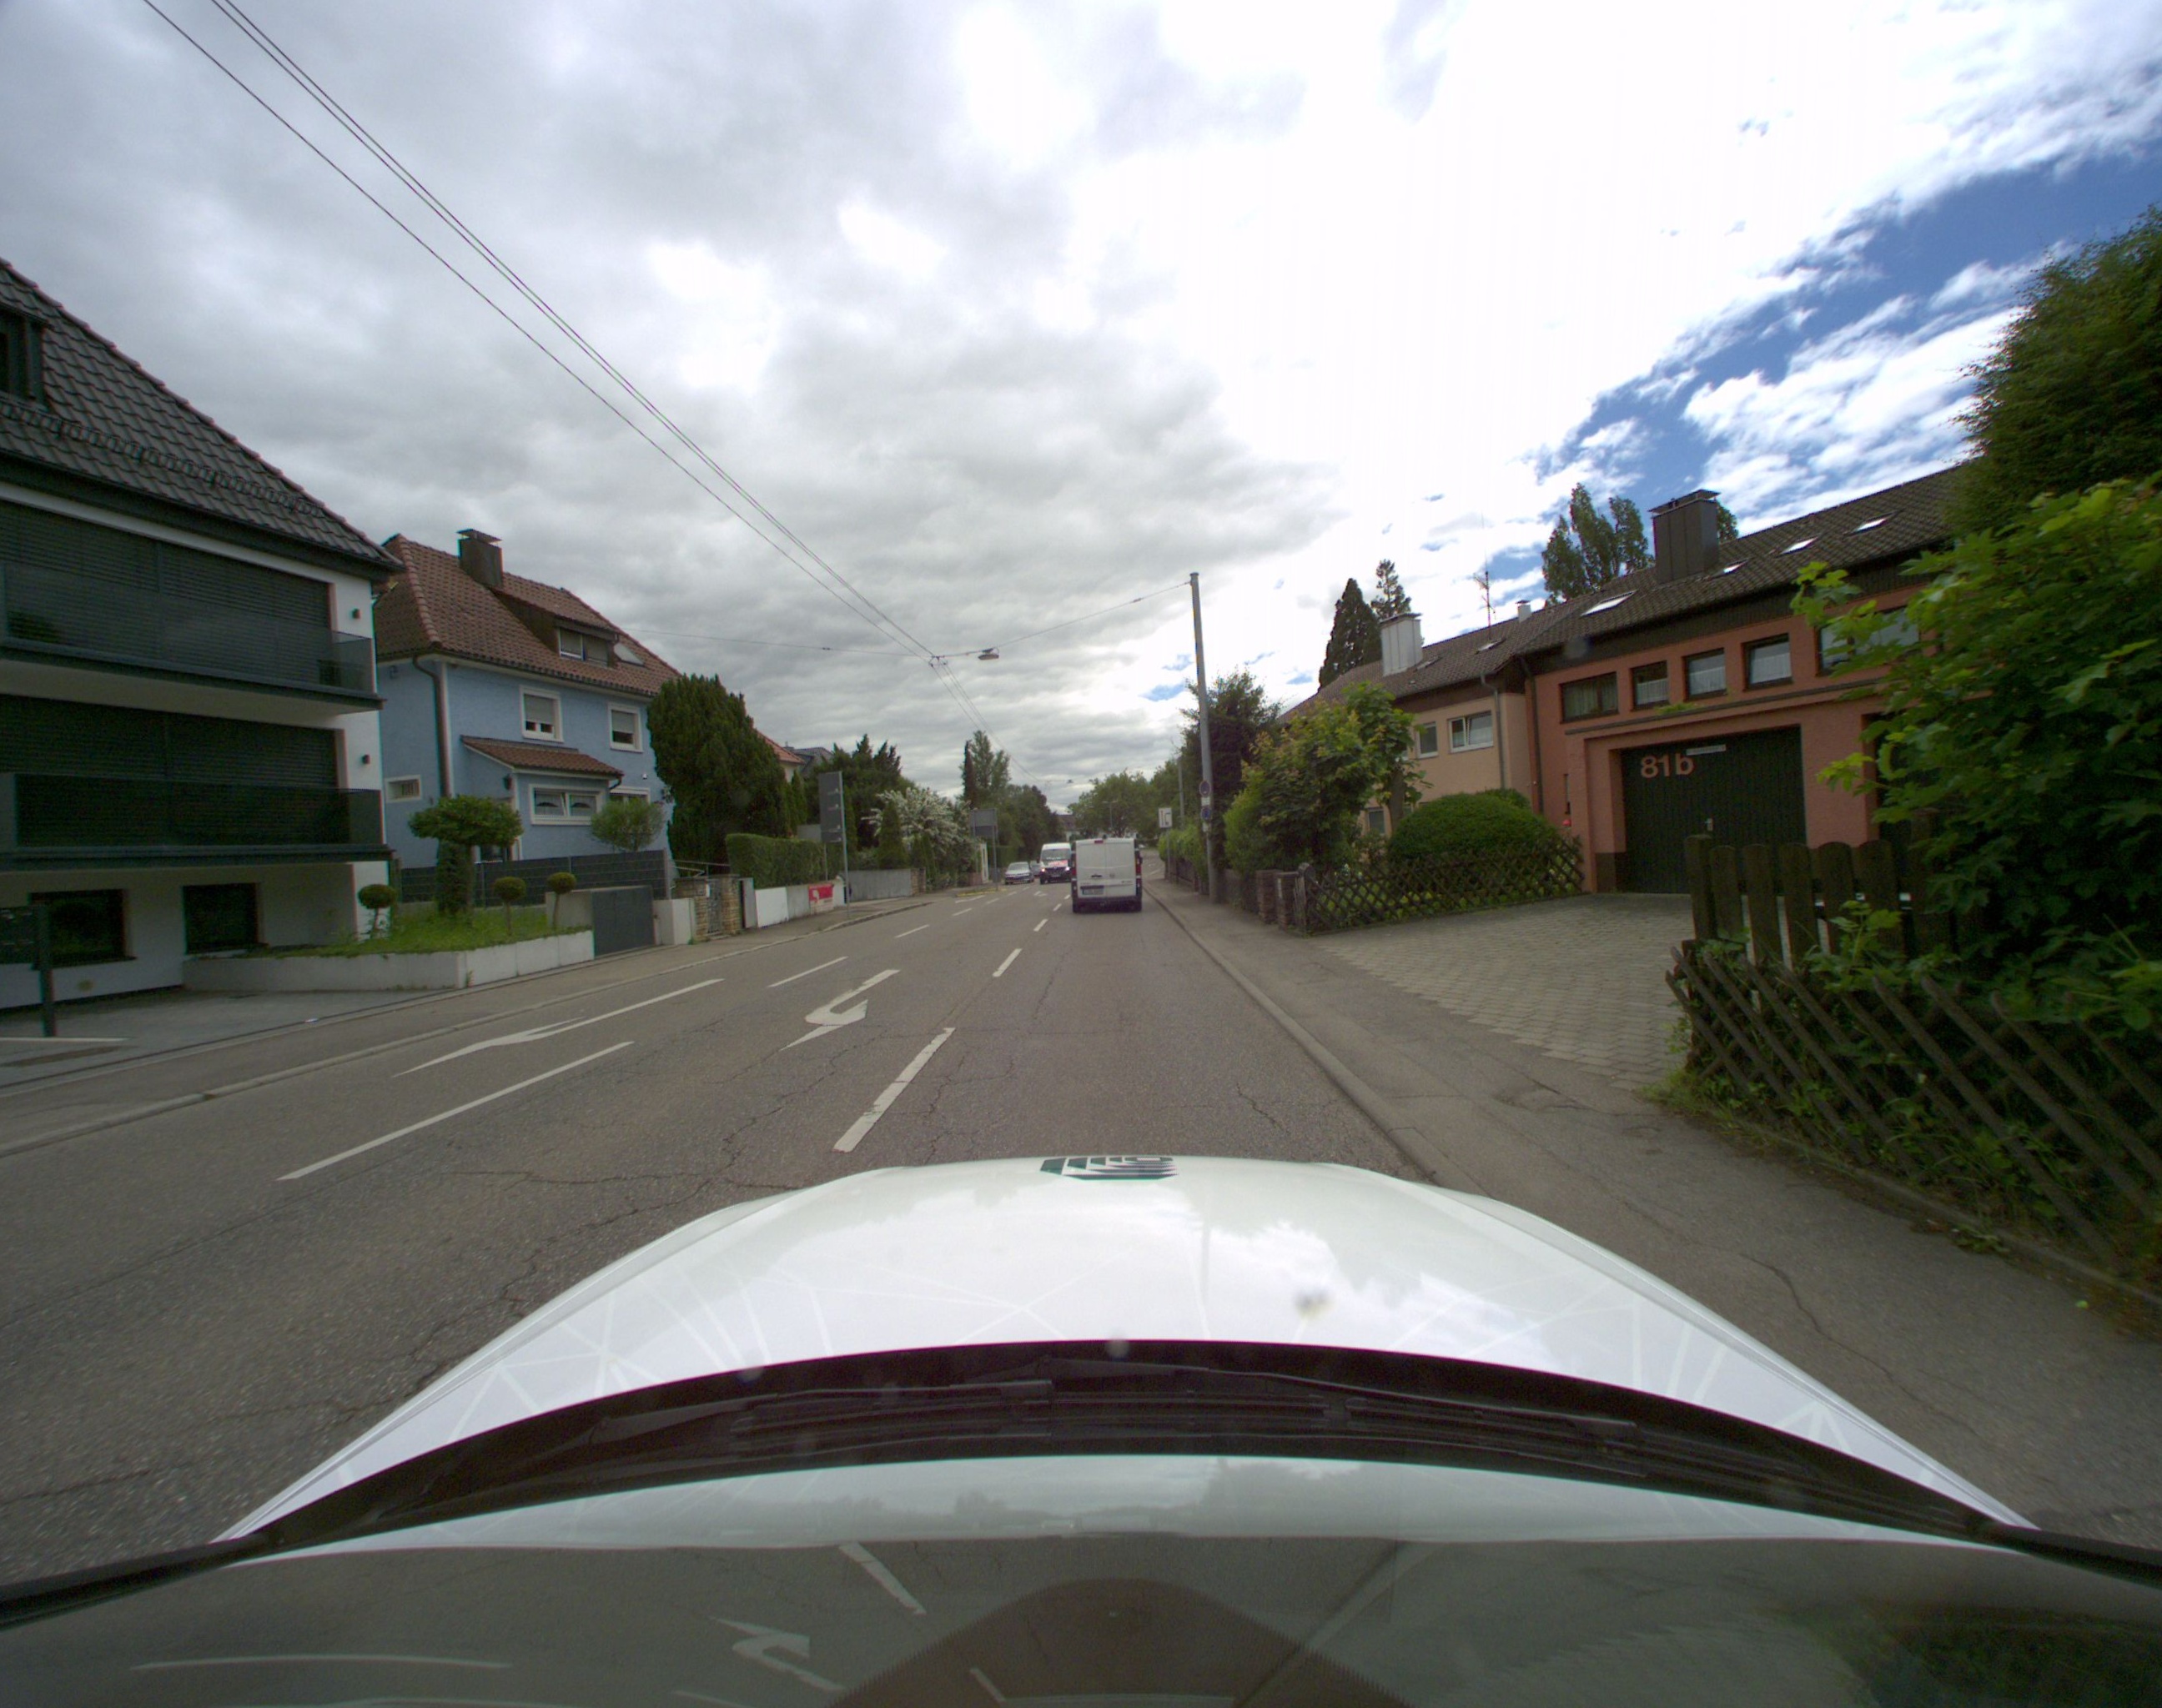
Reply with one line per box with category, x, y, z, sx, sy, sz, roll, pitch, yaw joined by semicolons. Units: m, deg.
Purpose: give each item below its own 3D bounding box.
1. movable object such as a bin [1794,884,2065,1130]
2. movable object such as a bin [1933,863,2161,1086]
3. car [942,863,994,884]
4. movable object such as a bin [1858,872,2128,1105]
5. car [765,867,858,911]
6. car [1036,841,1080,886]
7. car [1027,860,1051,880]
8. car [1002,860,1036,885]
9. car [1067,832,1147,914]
movable object such as a bin;3.873;0.646;3.756;0.448;0.956;0.682;-7;1;-19
movable object such as a bin;4.850;0.546;4.036;0.447;0.956;0.683;-7;1;-15
car;-8.985;1.532;64.821;3.565;1.390;1.855;-3;0;10
movable object such as a bin;4.342;0.591;3.915;0.447;0.956;0.683;-7;1;-15
car;-12.157;1.570;36.790;3.561;1.592;1.649;-5;-1;15
car;-1.349;0.606;50.384;2.103;2.498;6.128;-3;-1;3
car;-3.611;1.388;70.951;1.672;1.556;3.973;-5;-1;2
car;-4.235;1.222;56.012;1.803;1.455;4.414;-6;0;1
car;0.712;0.480;23.191;1.999;2.038;5.011;-1;0;1
